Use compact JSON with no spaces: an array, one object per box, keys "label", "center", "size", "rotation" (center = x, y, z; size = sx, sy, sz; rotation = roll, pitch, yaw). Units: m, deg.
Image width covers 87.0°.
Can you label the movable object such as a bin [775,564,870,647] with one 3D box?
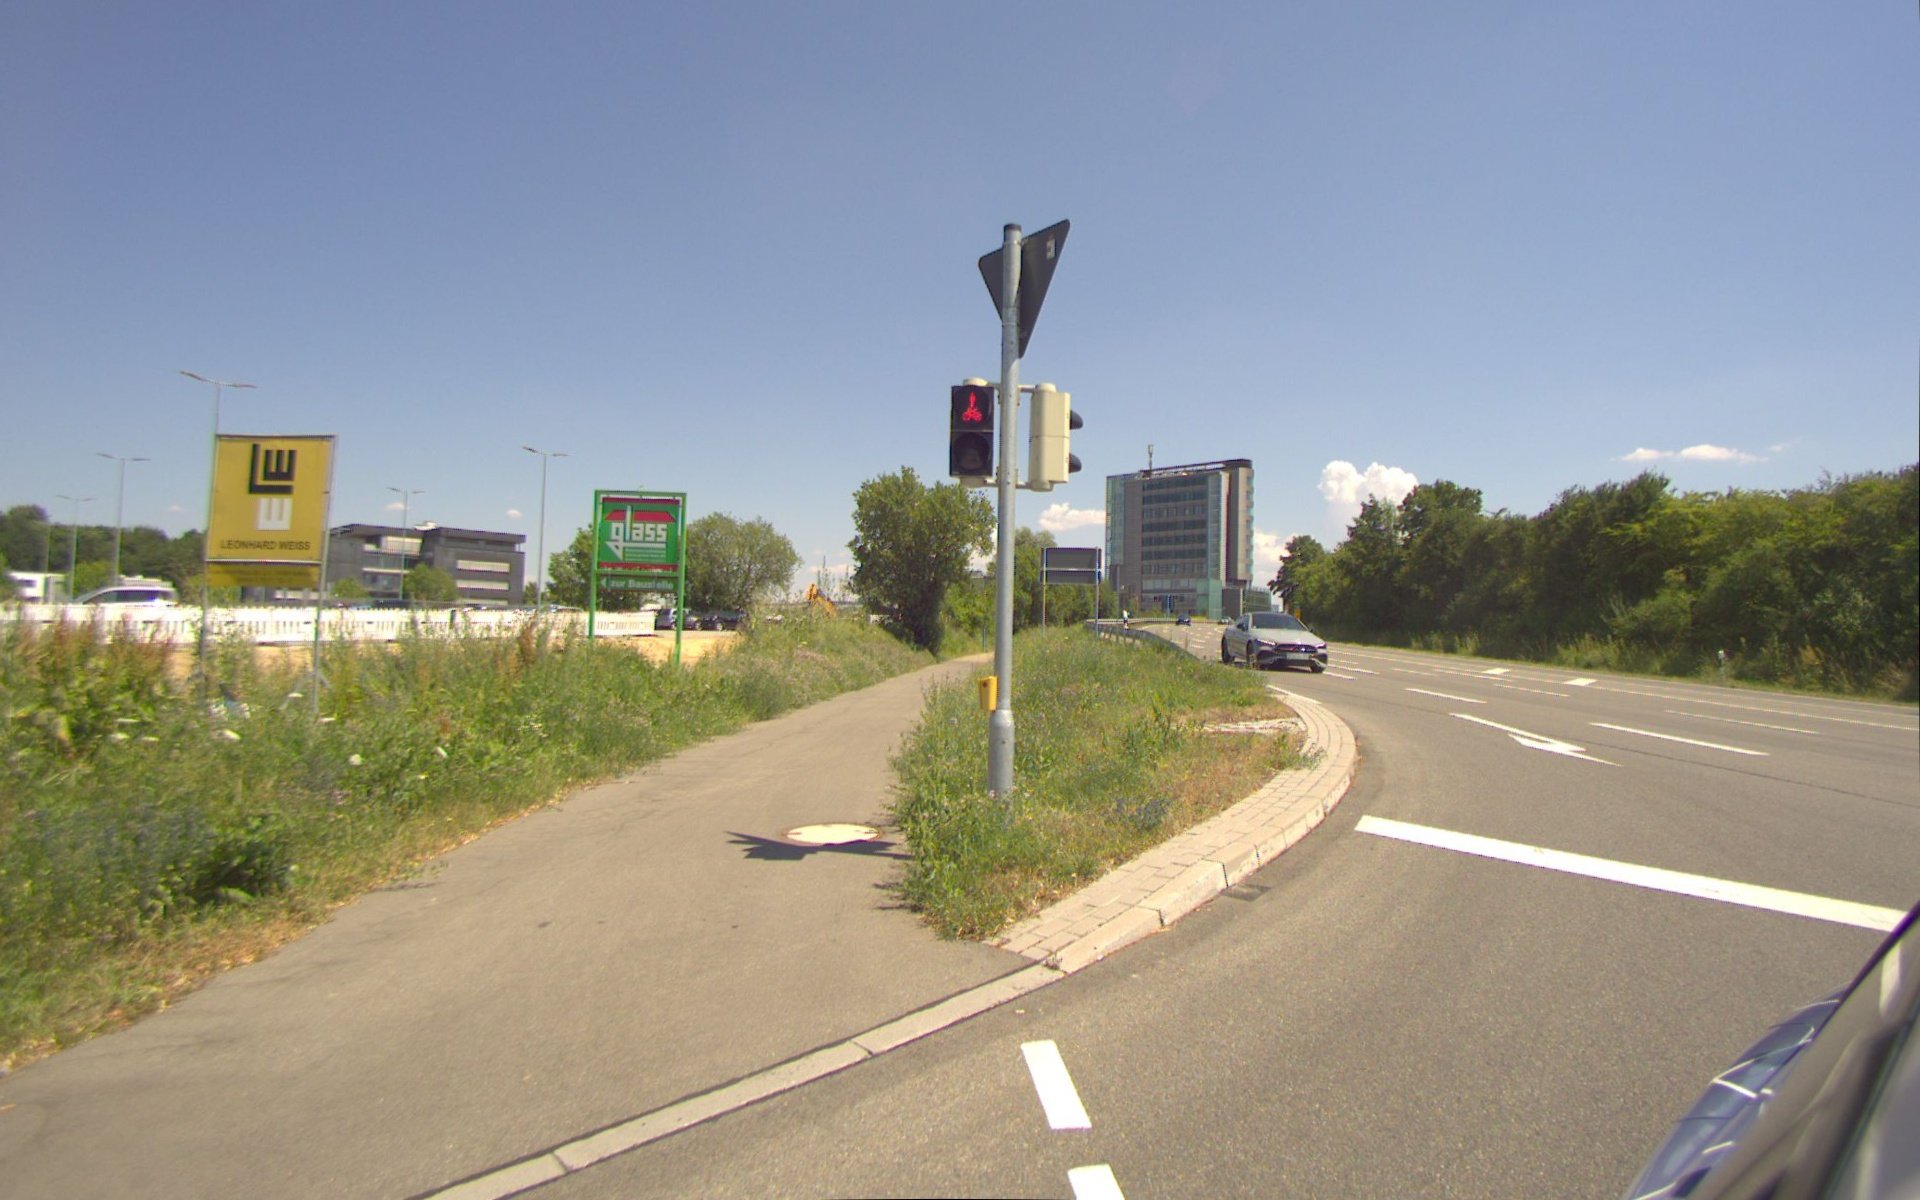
[{"label":"movable object such as a bin","center":[-7.372,0.220,55.498],"size":[2.938,4.095,8.086],"rotation":[2,1,8]}]

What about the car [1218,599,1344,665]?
[{"label":"car","center":[8.196,0.880,26.267],"size":[1.888,1.461,4.477],"rotation":[4,-3,2]}]

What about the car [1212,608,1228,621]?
[{"label":"car","center":[43.153,2.391,167.979],"size":[1.976,2.039,3.972],"rotation":[3,1,21]}]

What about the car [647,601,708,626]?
[{"label":"car","center":[-20.363,0.957,73.118],"size":[1.985,1.660,3.955],"rotation":[3,1,31]}]

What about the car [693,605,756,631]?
[{"label":"car","center":[-16.260,1.199,69.996],"size":[1.985,1.660,3.955],"rotation":[3,1,31]}]

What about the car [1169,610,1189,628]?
[{"label":"car","center":[26.754,2.306,123.789],"size":[1.967,2.039,3.991],"rotation":[3,1,8]}]

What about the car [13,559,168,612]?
[{"label":"car","center":[-34.213,-0.536,39.891],"size":[1.932,1.939,4.409],"rotation":[1,0,42]}]

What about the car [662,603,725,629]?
[{"label":"car","center":[-18.526,1.086,70.587],"size":[1.985,1.660,3.955],"rotation":[3,1,31]}]
